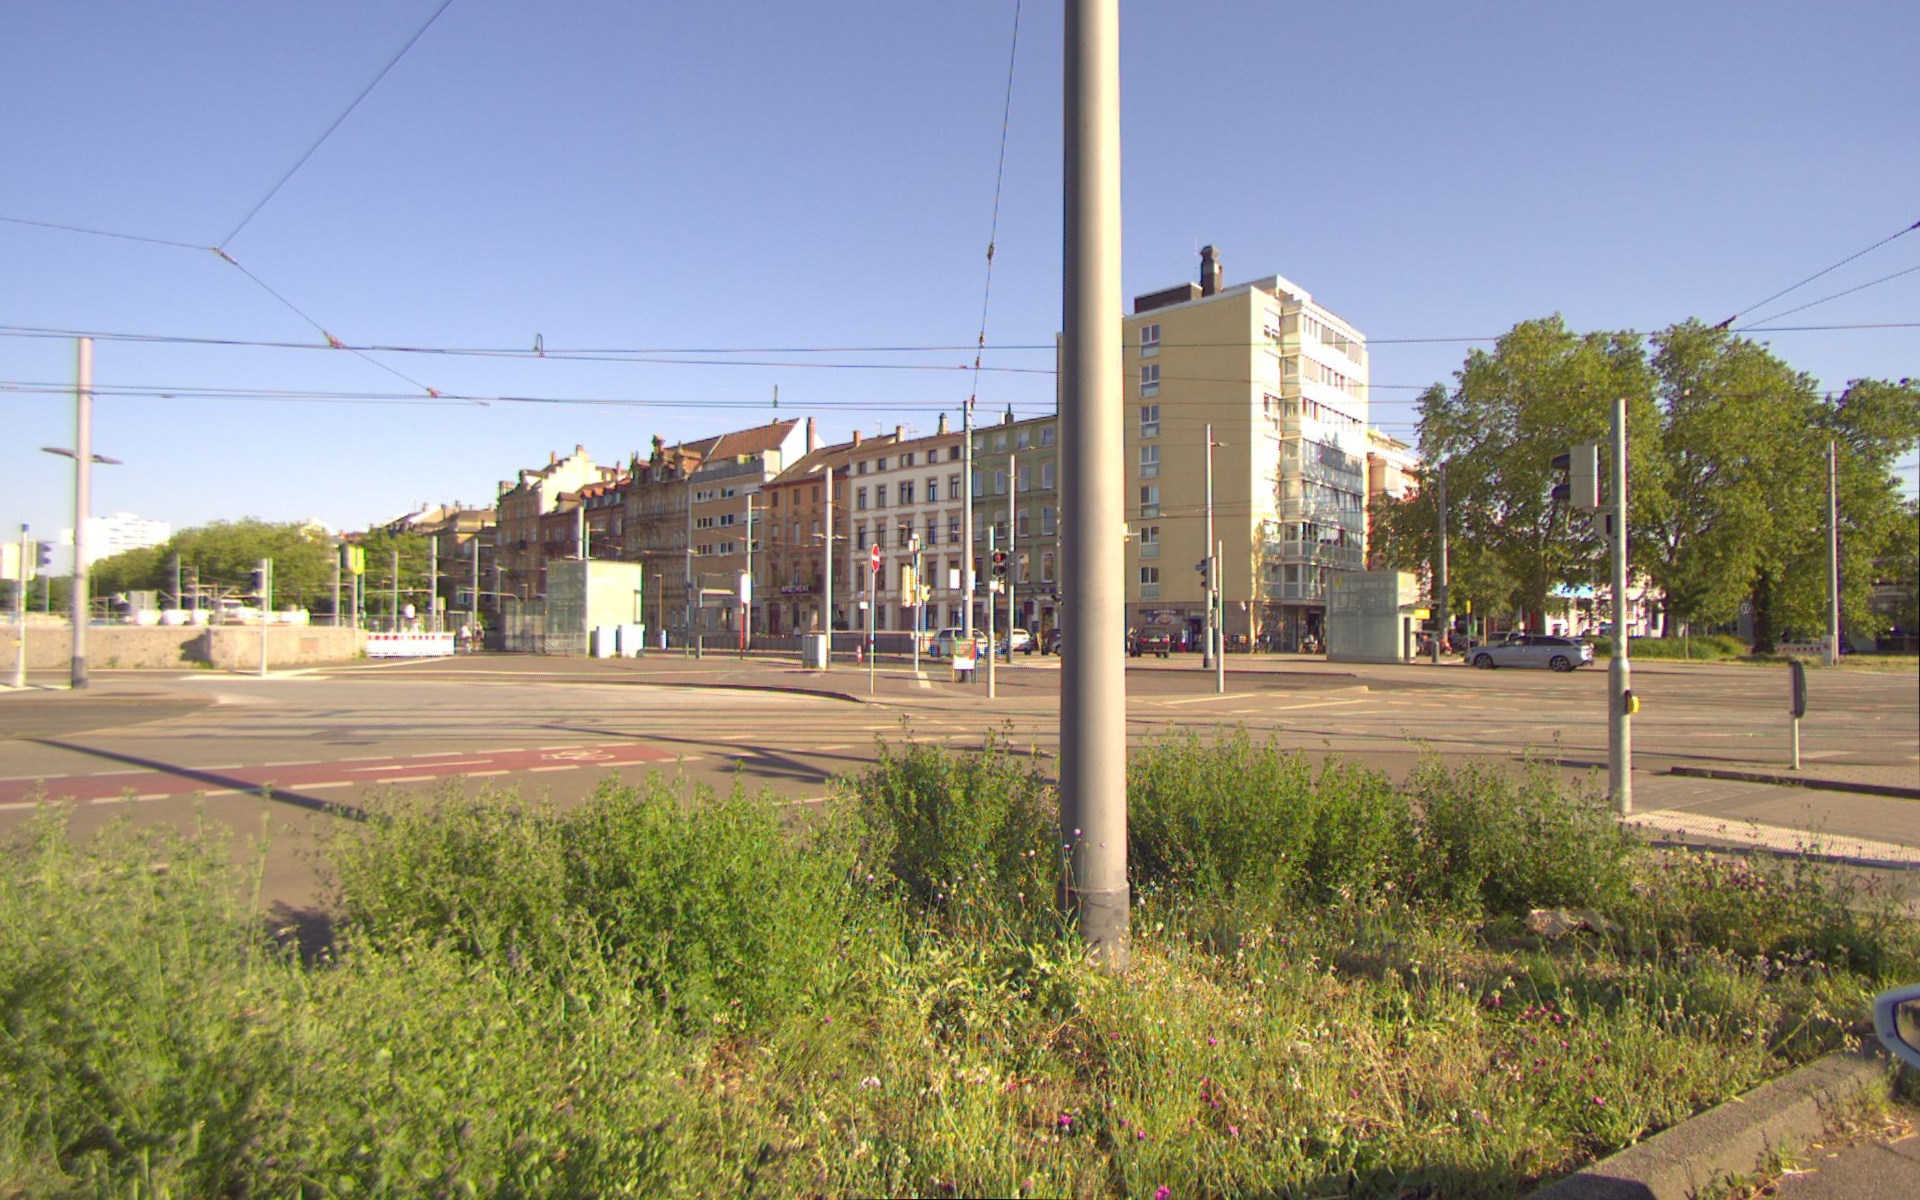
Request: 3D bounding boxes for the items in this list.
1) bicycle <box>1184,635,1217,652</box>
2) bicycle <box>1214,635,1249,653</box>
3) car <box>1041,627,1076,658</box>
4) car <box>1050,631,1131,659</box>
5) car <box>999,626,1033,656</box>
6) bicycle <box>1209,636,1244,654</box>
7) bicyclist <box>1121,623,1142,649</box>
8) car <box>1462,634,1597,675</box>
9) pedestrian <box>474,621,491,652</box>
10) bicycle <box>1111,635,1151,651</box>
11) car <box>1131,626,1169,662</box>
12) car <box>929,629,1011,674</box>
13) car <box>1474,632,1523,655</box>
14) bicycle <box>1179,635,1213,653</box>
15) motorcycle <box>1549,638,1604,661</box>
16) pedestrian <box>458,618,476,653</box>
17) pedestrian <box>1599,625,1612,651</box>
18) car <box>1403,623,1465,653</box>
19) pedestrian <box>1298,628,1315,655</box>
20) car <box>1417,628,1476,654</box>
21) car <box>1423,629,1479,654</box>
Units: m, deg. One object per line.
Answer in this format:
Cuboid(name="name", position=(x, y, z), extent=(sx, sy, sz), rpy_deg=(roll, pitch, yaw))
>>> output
Cuboid(name="bicycle", position=(15.656, 2.812, 65.373), extent=(2.019, 1.104, 0.773), rpy_deg=(-1, -2, 42))
Cuboid(name="bicycle", position=(17.285, 2.798, 63.902), extent=(2.019, 1.104, 0.773), rpy_deg=(-1, -2, 42))
Cuboid(name="car", position=(6.043, 2.590, 61.891), extent=(1.803, 1.742, 4.000), rpy_deg=(-1, 0, 1))
Cuboid(name="car", position=(7.120, 2.434, 54.870), extent=(4.050, 1.471, 1.943), rpy_deg=(-1, -2, 43))
Cuboid(name="car", position=(3.565, 2.612, 64.402), extent=(2.045, 1.742, 4.010), rpy_deg=(-1, 0, 1))
Cuboid(name="bicycle", position=(16.772, 2.804, 63.228), extent=(2.019, 1.104, 0.773), rpy_deg=(-1, -2, 42))
Cuboid(name="bicyclist", position=(10.889, 2.284, 63.822), extent=(0.914, 1.580, 0.957), rpy_deg=(-1, -2, 45))
Cuboid(name="car", position=(22.825, 2.146, 40.354), extent=(4.489, 1.537, 1.945), rpy_deg=(-1, -2, 39))
Cuboid(name="pedestrian", position=(-26.414, 2.028, 55.609), extent=(0.721, 1.671, 0.788), rpy_deg=(1, -2, -34))
Cuboid(name="bicycle", position=(10.872, 2.724, 63.795), extent=(0.957, 1.016, 2.414), rpy_deg=(2, -2, -45))
Cuboid(name="car", position=(10.902, 2.524, 57.889), extent=(1.815, 1.882, 4.002), rpy_deg=(-1, 0, 6))
Cuboid(name="car", position=(0.472, 2.506, 49.585), extent=(3.691, 2.040, 1.990), rpy_deg=(0, 0, 41))
Cuboid(name="car", position=(35.541, 2.854, 66.251), extent=(1.827, 1.471, 3.976), rpy_deg=(0, -2, 44))
Cuboid(name="bicycle", position=(15.155, 2.818, 64.657), extent=(2.019, 1.104, 0.773), rpy_deg=(-1, -2, 42))
Cuboid(name="motorcycle", position=(30.834, 2.472, 50.257), extent=(0.682, 1.068, 2.263), rpy_deg=(-1, 0, -42))
Cuboid(name="pedestrian", position=(-26.056, 1.867, 53.050), extent=(0.721, 1.801, 0.788), rpy_deg=(1, -2, -34))
Cuboid(name="pedestrian", position=(52.224, 3.082, 81.248), extent=(0.702, 2.040, 0.586), rpy_deg=(1, -1, -30))
Cuboid(name="car", position=(33.681, 2.668, 71.485), extent=(3.925, 2.040, 1.998), rpy_deg=(0, -2, 26))
Cuboid(name="pedestrian", position=(21.790, 2.611, 63.086), extent=(0.767, 1.698, 0.778), rpy_deg=(-1, -2, 43))
Cuboid(name="car", position=(36.780, 3.093, 76.021), extent=(3.925, 1.882, 1.851), rpy_deg=(0, 0, 26))
Cuboid(name="car", position=(39.090, 3.299, 80.004), extent=(3.925, 1.882, 1.851), rpy_deg=(0, 0, 26))
